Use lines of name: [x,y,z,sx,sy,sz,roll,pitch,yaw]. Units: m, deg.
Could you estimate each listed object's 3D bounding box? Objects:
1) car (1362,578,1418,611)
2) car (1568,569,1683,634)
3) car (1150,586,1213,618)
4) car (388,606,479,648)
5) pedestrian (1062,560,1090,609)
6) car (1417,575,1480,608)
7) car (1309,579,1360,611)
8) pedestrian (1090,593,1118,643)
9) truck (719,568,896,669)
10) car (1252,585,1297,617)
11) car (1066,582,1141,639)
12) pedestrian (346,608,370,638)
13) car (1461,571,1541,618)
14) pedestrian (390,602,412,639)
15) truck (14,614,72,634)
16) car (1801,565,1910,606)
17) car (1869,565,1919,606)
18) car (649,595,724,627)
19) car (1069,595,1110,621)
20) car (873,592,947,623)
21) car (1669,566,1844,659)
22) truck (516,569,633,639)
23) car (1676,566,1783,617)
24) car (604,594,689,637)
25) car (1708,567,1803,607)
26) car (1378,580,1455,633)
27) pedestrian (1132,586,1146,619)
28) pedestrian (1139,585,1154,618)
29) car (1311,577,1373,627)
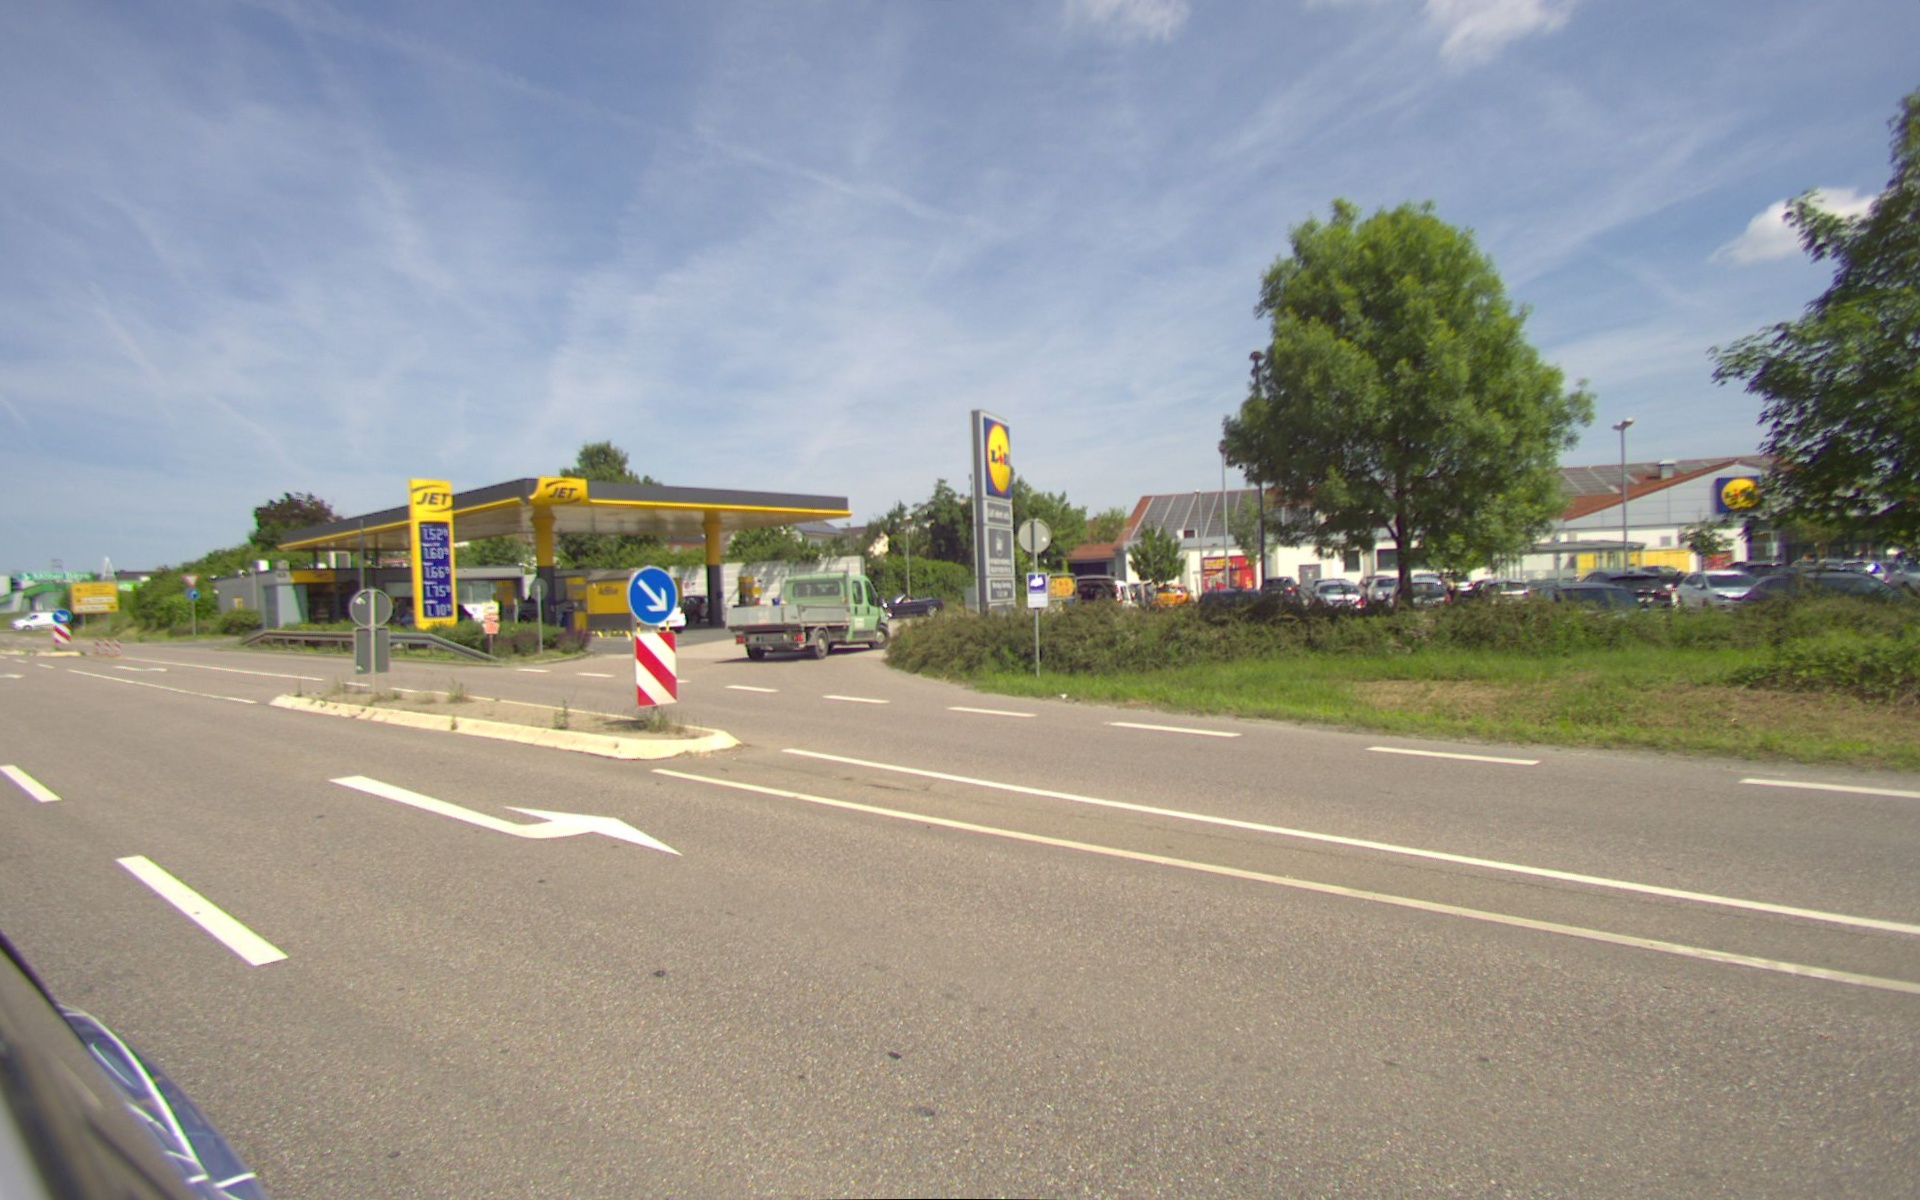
car: [20.119,-0.286,47.497,1.869,1.453,3.980,-1,1,15]
car: [19.056,-0.001,29.184,1.898,1.687,3.973,-1,1,21]
car: [11.113,0.079,50.638,1.879,1.453,3.957,-1,1,32]
car: [-23.188,1.191,44.500,4.259,1.719,1.974,-2,-1,38]
pedestrian: [3.762,-0.495,32.802,0.801,1.587,0.701,-1,0,14]
car: [22.518,-0.410,46.777,1.869,1.453,3.980,-1,1,15]
car: [17.891,-0.252,48.487,1.869,1.453,3.980,-1,1,15]
pedestrian: [4.634,0.567,32.572,0.801,1.587,0.701,-1,0,14]
truck: [-3.889,0.400,27.391,2.229,2.393,6.316,-1,1,16]
car: [15.047,0.015,48.575,1.869,1.453,3.980,-1,1,15]
car: [5.039,0.323,35.109,1.865,1.825,4.144,-2,0,18]
pedestrian: [-28.888,1.093,48.581,0.900,1.438,0.495,-1,0,-38]
car: [18.722,-0.190,35.186,1.764,1.540,3.976,-1,0,18]
pedestrian: [-29.084,1.063,52.653,0.640,1.852,0.787,-2,0,42]
truck: [-107.219,2.787,118.362,1.994,2.024,4.723,-2,1,32]
car: [36.006,-0.566,40.835,1.866,1.553,4.230,-1,0,20]
car: [38.416,-0.578,40.267,1.866,1.553,4.230,-1,0,20]
car: [-14.691,0.573,54.351,3.862,1.625,1.735,-2,-1,31]
car: [9.726,0.542,75.641,1.987,1.823,4.355,-2,0,22]
car: [-2.825,0.411,57.181,3.809,1.625,1.759,-1,-1,-21]
car: [15.724,0.214,20.225,1.683,1.670,3.970,-1,0,22]
truck: [-17.560,0.178,45.929,6.279,2.944,2.222,-1,0,40]
car: [25.014,-0.264,33.044,1.767,1.540,3.971,-1,0,22]
car: [-13.247,0.681,42.648,4.001,1.741,1.713,-2,-3,44]
car: [32.984,-0.514,42.098,1.866,1.553,4.230,-1,0,20]
car: [14.299,0.171,31.893,1.769,1.513,4.121,-2,1,19]
pedestrian: [8.565,0.131,48.519,0.504,1.564,0.512,-1,0,30]
pedestrian: [9.030,0.075,48.885,0.506,1.564,0.510,-1,0,42]
car: [13.801,0.039,36.780,1.850,1.688,4.398,-2,1,18]
